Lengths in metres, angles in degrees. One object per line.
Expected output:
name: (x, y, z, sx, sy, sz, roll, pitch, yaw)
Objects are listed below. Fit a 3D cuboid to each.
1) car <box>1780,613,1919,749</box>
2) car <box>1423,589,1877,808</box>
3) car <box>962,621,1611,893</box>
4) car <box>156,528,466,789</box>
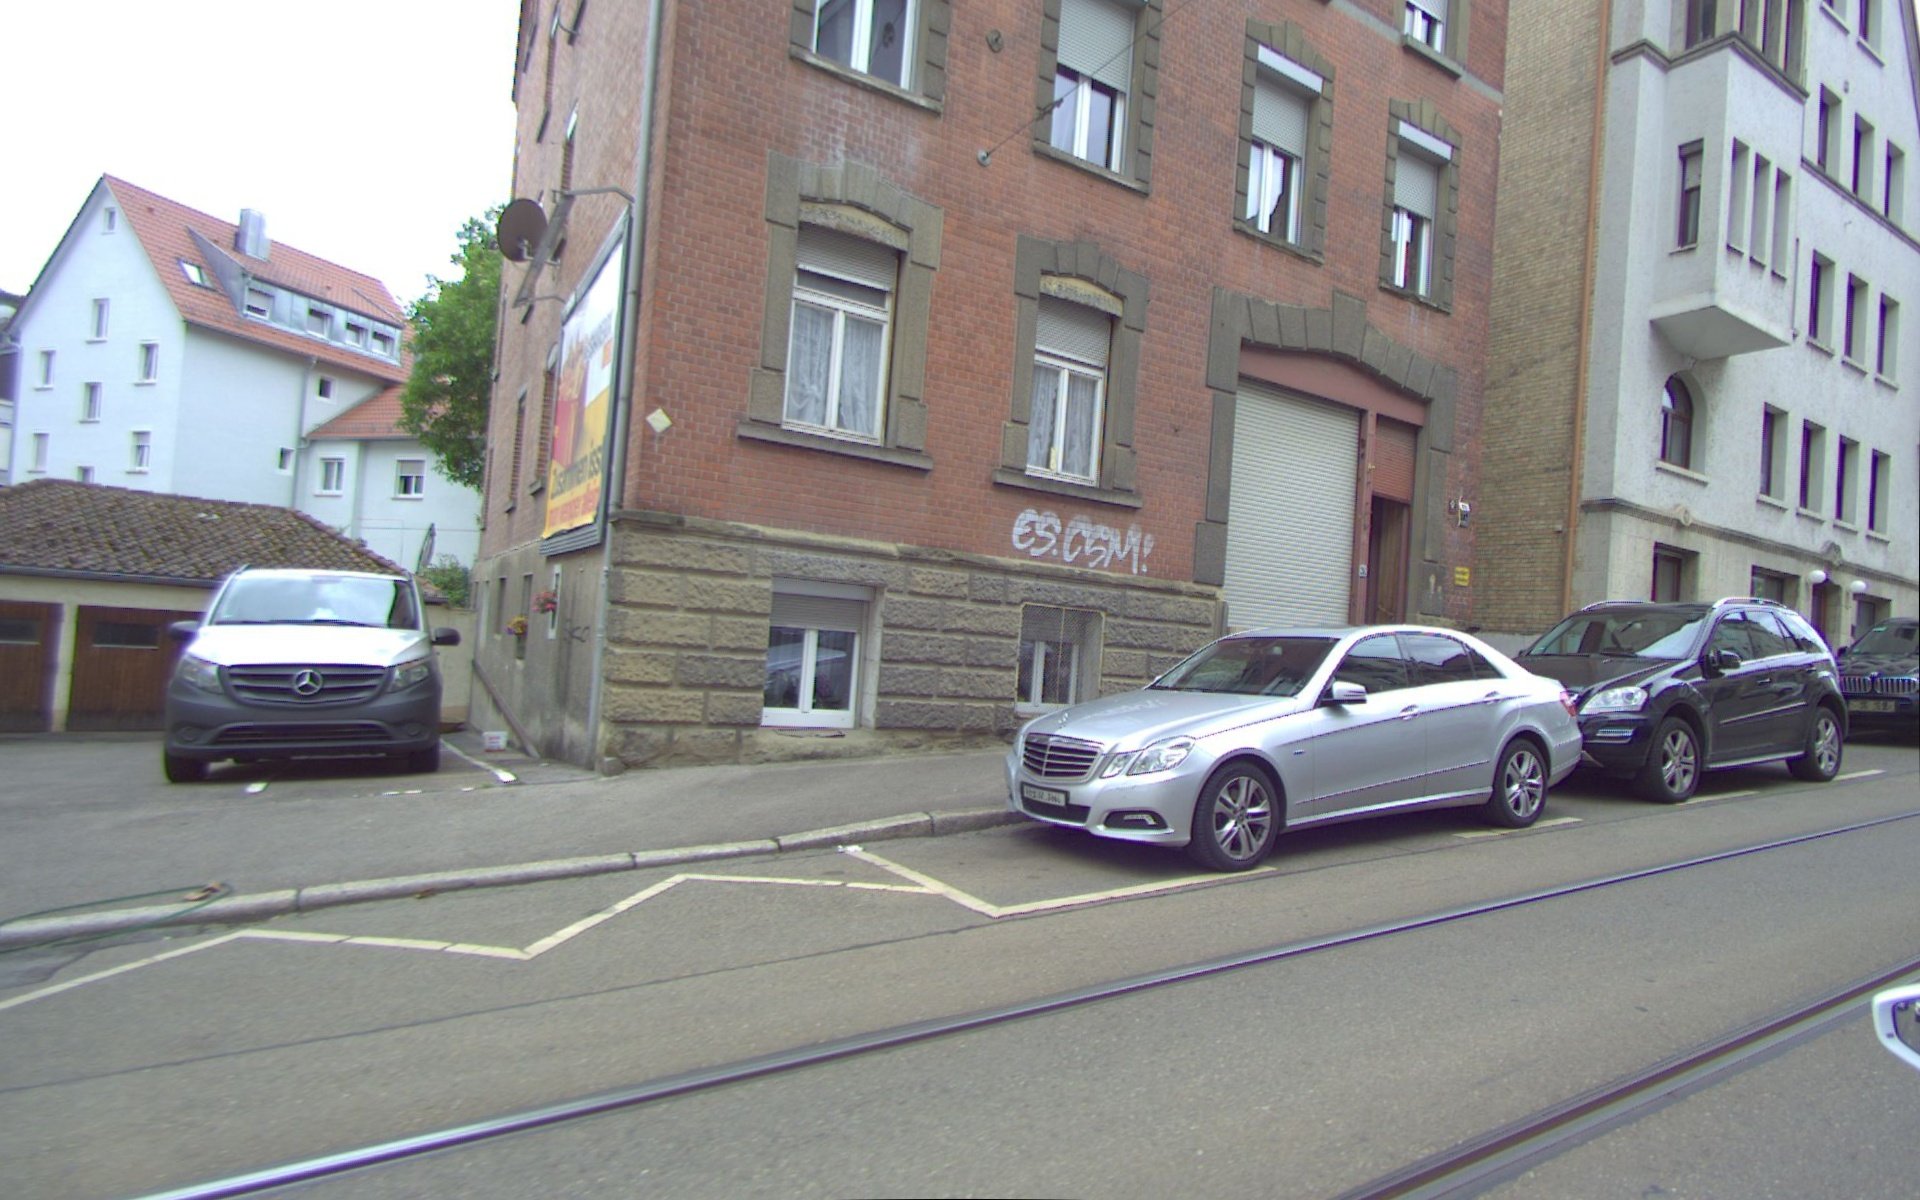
car: (13.756, 1.059, 14.114, 4.833, 1.686, 1.865, 1, -2, -30)
car: (6.974, 0.856, 10.019, 4.855, 1.741, 1.819, 1, -2, -30)
car: (2.520, 0.909, 7.376, 4.781, 1.448, 1.819, 1, -2, -30)
car: (-6.047, 0.666, 9.828, 1.917, 1.841, 5.155, 1, -6, -29)
